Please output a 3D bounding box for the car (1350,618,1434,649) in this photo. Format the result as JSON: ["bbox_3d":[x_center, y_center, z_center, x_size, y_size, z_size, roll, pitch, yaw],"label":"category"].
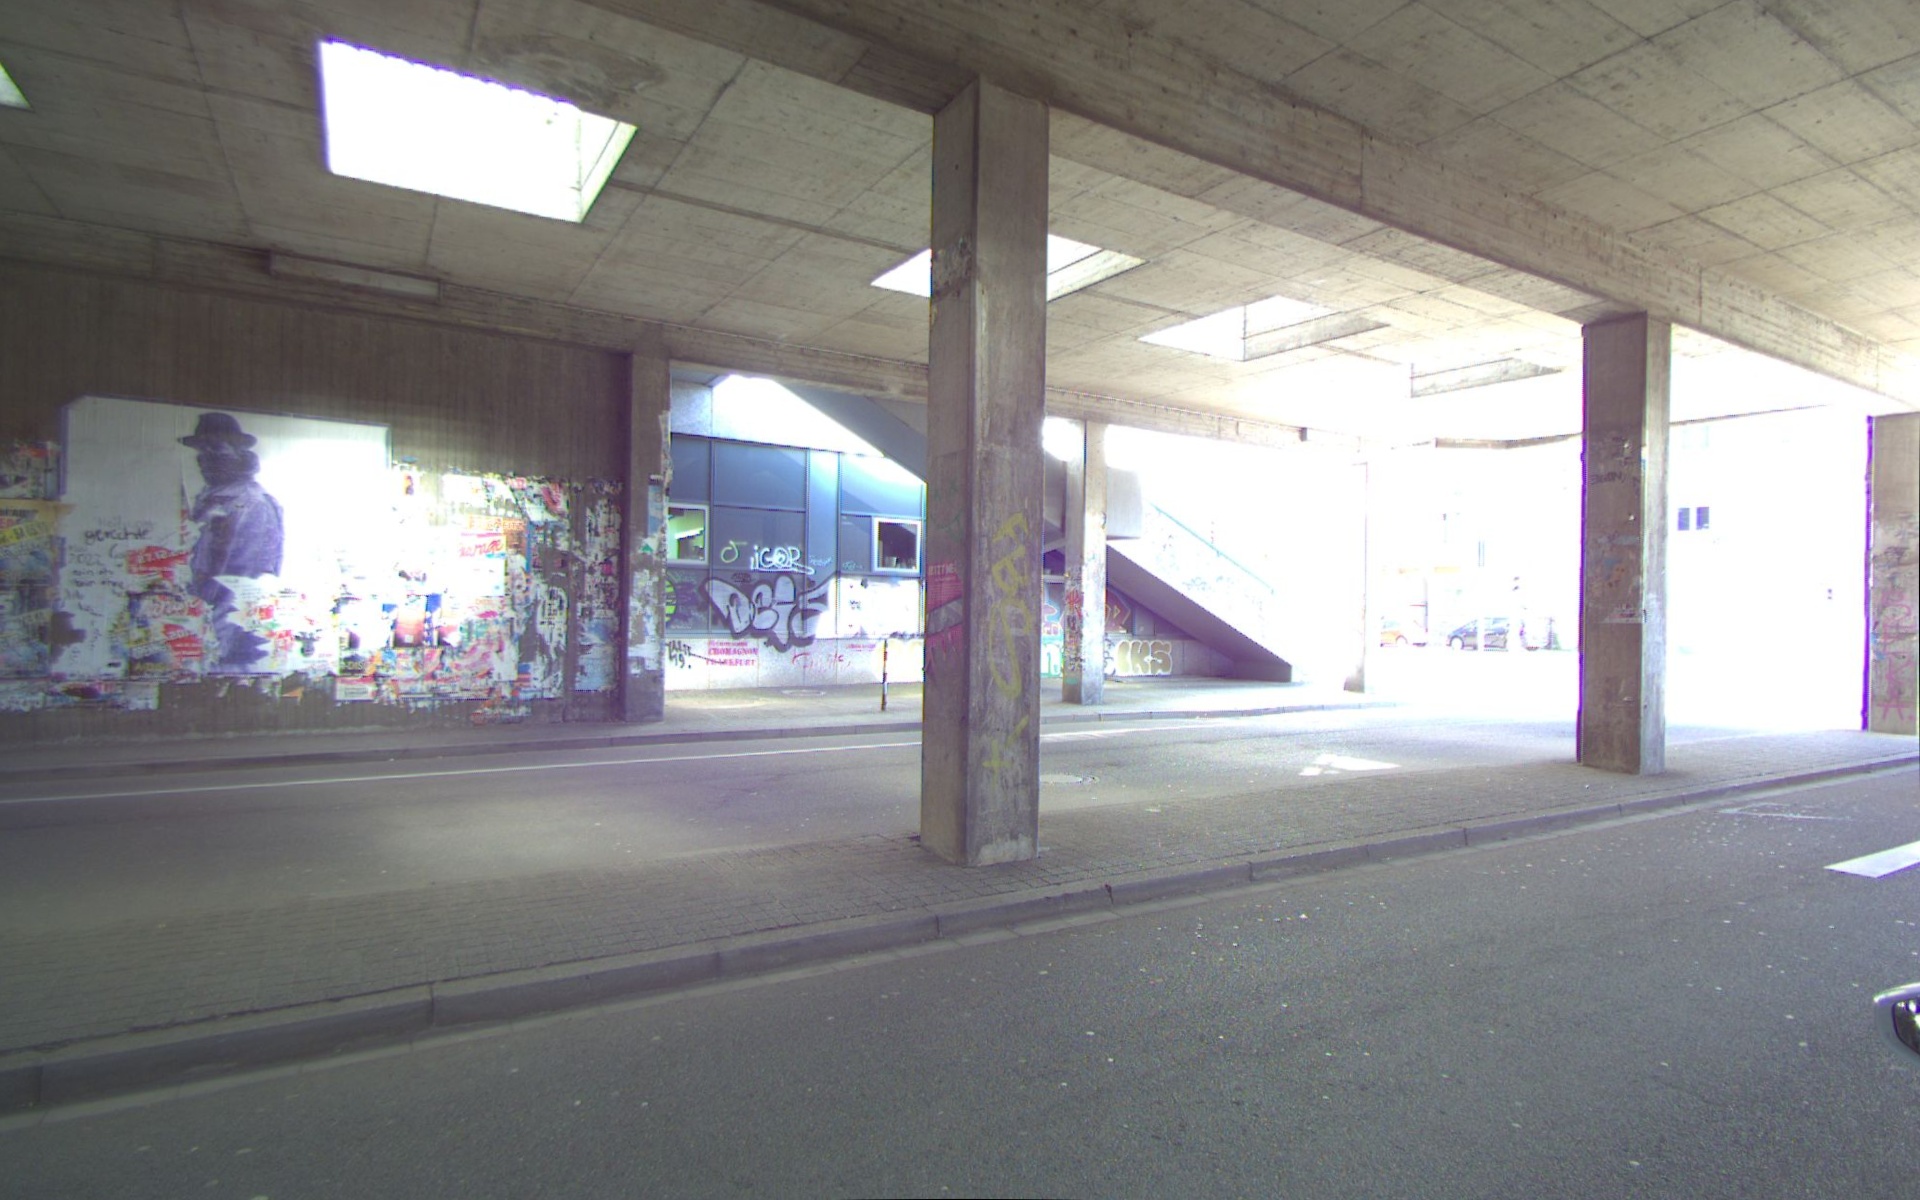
[{"bbox_3d":[22.555,1.721,52.600,1.730,1.495,3.741,2,-1,-31],"label":"car"}]

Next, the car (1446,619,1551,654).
[{"bbox_3d":[25.467,1.704,47.645,1.718,1.495,4.089,2,-1,-31],"label":"car"}]
